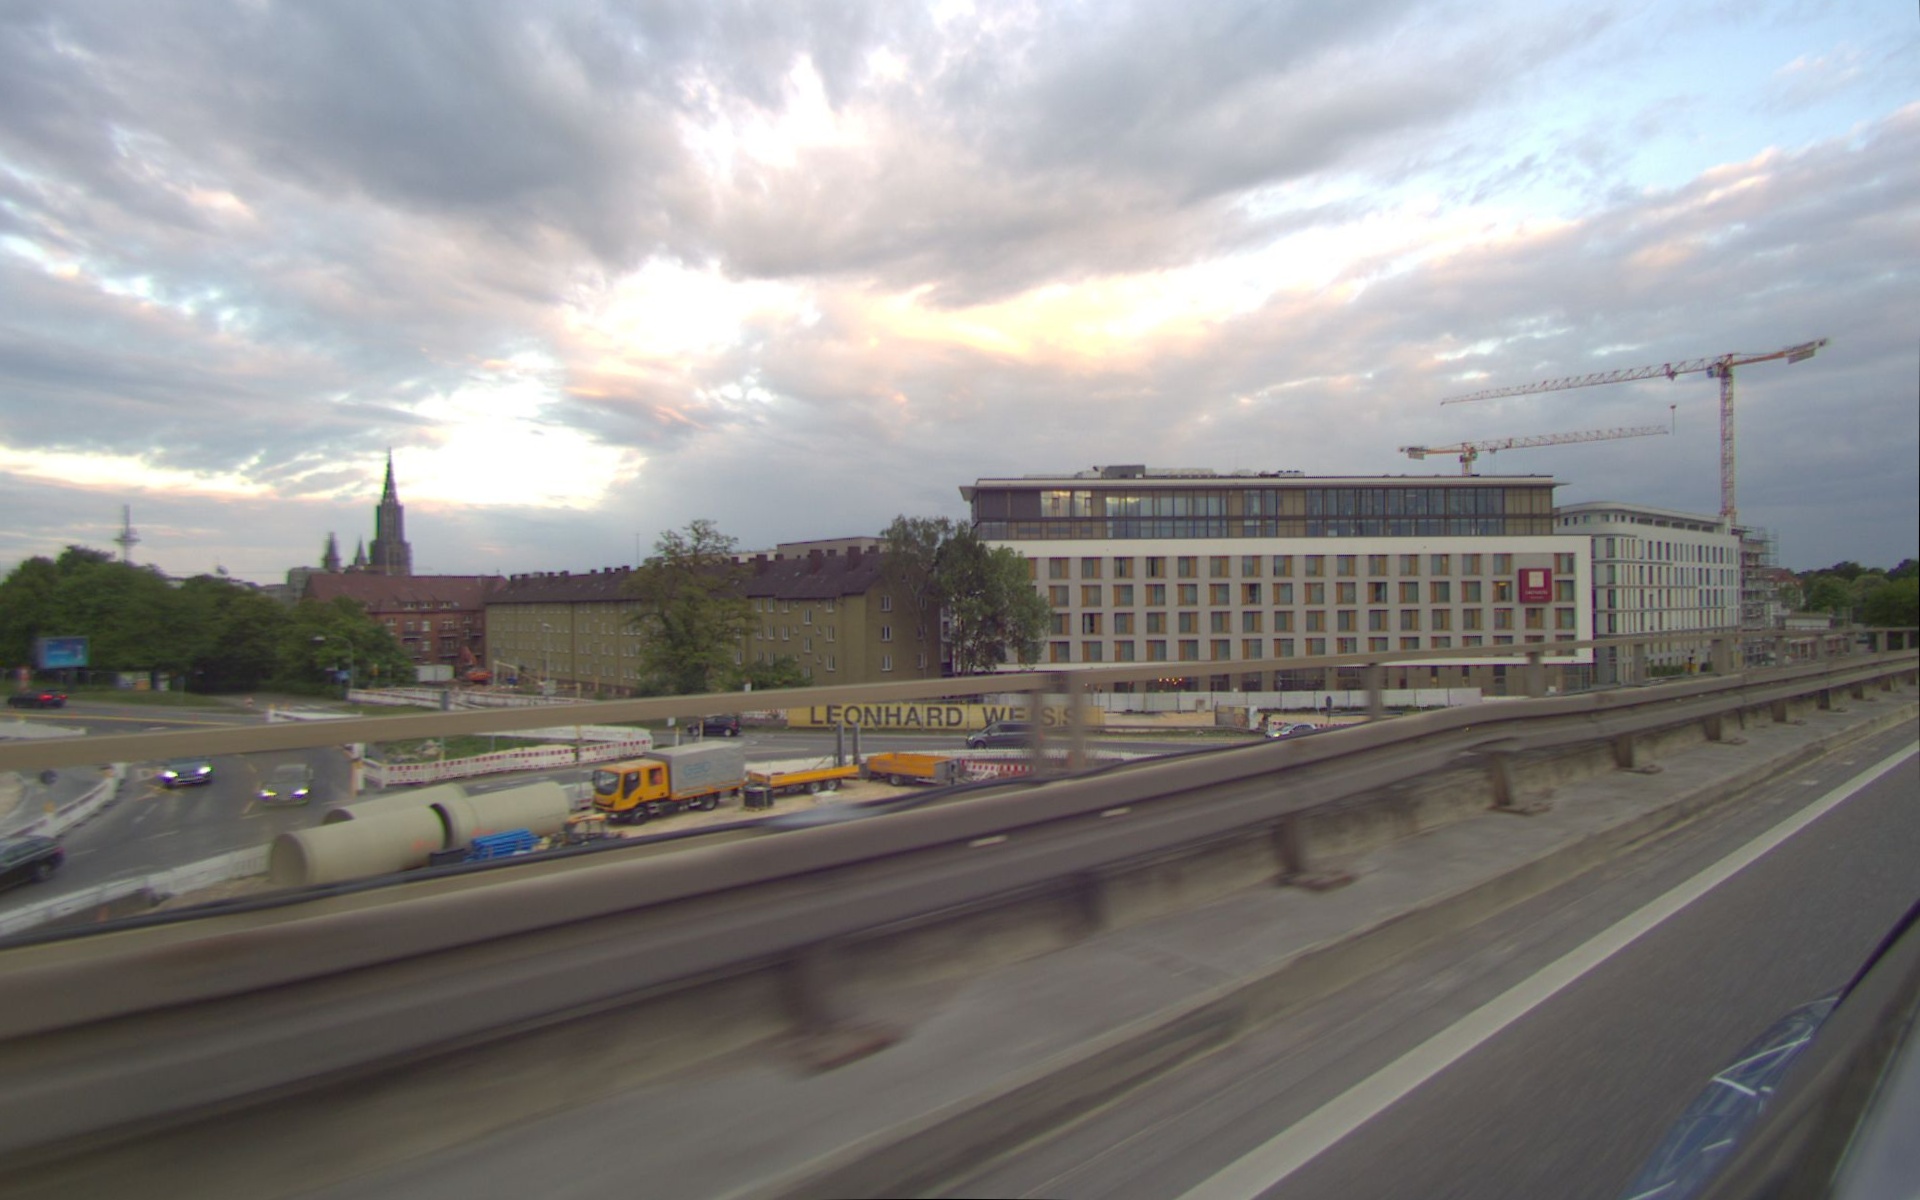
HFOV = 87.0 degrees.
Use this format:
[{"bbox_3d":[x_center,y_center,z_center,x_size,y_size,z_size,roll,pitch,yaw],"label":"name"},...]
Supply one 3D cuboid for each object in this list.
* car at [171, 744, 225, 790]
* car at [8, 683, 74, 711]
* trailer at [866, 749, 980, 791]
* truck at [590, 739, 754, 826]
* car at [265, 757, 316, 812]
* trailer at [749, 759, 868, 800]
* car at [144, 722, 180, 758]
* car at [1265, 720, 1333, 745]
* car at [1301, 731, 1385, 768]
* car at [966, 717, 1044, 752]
[{"bbox_3d":[-39.555,8.621,52.609,1.612,1.761,3.799,-1,-1,-27],"label":"car"},{"bbox_3d":[-75.822,7.981,83.512,3.937,2.040,1.992,1,-4,11],"label":"car"},{"bbox_3d":[-1.982,8.894,53.138,5.824,1.365,2.005,0,0,31],"label":"trailer"},{"bbox_3d":[-13.194,8.282,46.857,2.156,2.987,7.220,-4,-4,43],"label":"truck"},{"bbox_3d":[-31.933,8.743,48.369,1.768,1.741,4.105,-3,2,-31],"label":"car"},{"bbox_3d":[-7.669,9.090,51.606,5.770,1.366,1.995,1,-6,-41],"label":"trailer"},{"bbox_3d":[-48.460,8.470,61.492,1.618,1.639,3.765,0,0,-37],"label":"car"},{"bbox_3d":[23.100,9.054,69.058,3.924,1.460,1.912,0,0,1],"label":"car"},{"bbox_3d":[23.208,9.063,61.533,4.526,1.639,1.992,1,0,14],"label":"car"},{"bbox_3d":[2.914,8.731,65.830,4.996,1.901,2.000,0,0,1],"label":"car"}]
